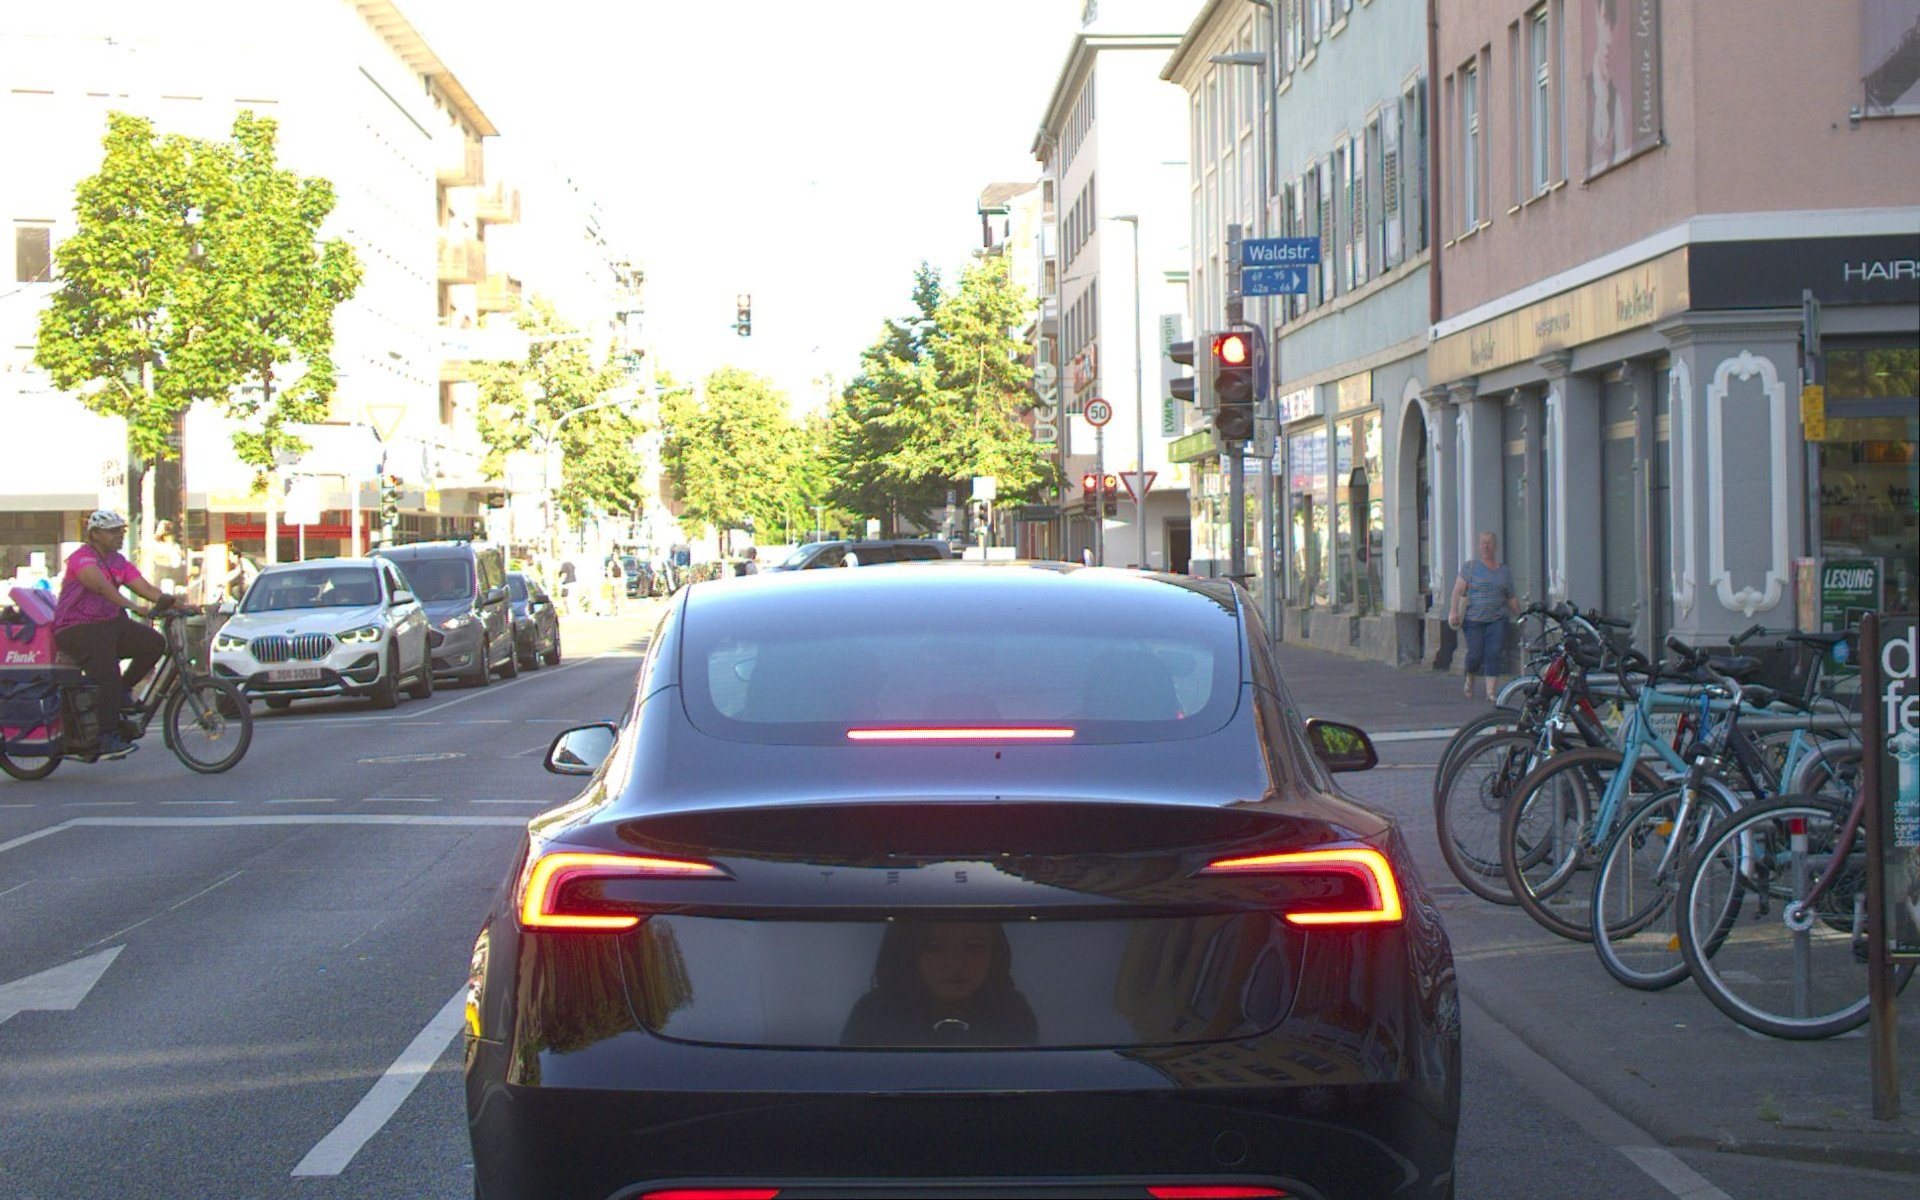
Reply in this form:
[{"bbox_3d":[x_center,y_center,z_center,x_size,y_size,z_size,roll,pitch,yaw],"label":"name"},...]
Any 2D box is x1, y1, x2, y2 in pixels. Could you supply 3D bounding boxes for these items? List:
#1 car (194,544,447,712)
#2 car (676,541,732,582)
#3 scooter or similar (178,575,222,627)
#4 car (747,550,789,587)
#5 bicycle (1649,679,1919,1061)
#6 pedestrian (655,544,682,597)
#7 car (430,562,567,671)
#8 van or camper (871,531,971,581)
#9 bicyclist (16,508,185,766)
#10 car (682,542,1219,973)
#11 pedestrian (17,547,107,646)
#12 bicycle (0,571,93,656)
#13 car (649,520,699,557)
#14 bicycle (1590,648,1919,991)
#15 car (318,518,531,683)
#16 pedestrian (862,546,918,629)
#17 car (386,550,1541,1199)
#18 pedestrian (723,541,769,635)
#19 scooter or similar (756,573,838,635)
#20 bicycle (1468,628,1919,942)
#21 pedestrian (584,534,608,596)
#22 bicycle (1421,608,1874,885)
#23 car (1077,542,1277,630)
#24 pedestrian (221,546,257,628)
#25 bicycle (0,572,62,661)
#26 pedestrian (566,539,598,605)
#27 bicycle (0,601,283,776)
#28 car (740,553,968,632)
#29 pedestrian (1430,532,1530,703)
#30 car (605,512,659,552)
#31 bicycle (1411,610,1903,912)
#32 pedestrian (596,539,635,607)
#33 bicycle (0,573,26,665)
[{"bbox_3d":[-6.684,0.258,36.339,1.825,1.559,4.301,-4,1,-1],"label":"car"},{"bbox_3d":[-12.386,-1.867,166.450,2.414,1.963,4.678,0,1,-1],"label":"car"},{"bbox_3d":[-14.264,0.019,64.536,0.787,0.954,0.464,1,0,-13],"label":"scooter or similar"},{"bbox_3d":[-10.432,-1.739,187.133,2.132,1.963,4.134,0,1,-1],"label":"car"},{"bbox_3d":[3.028,0.761,10.049,1.882,1.040,0.653,-1,1,1],"label":"bicycle"},{"bbox_3d":[-10.339,-1.038,121.894,0.694,1.861,0.910,1,0,-19],"label":"pedestrian"},{"bbox_3d":[-6.650,0.208,49.796,1.461,1.425,3.606,-4,1,-1],"label":"car"},{"bbox_3d":[-1.892,-2.132,167.547,4.850,2.430,1.851,0,1,-1],"label":"van or camper"},{"bbox_3d":[-6.079,0.259,24.339,0.864,1.749,0.681,-4,-1,8],"label":"bicyclist"},{"bbox_3d":[-0.057,0.526,14.197,1.850,1.476,4.452,1,1,-1],"label":"car"},{"bbox_3d":[-14.888,-0.063,56.981,1.093,1.606,1.266,1,1,-33],"label":"pedestrian"},{"bbox_3d":[-14.530,0.194,52.139,2.542,1.247,0.943,1,0,-3],"label":"bicycle"},{"bbox_3d":[-15.639,-3.353,188.280,2.275,2.007,4.717,1,1,1],"label":"car"},{"bbox_3d":[3.002,0.694,11.120,1.813,1.056,0.653,0,1,1],"label":"bicycle"},{"bbox_3d":[-6.569,-0.032,42.662,1.945,1.940,4.820,0,1,-1],"label":"car"},{"bbox_3d":[-1.364,-0.248,67.244,0.806,1.604,0.709,0,1,-37],"label":"pedestrian"},{"bbox_3d":[-0.022,0.631,7.772,1.850,1.442,4.452,1,1,-1],"label":"car"},{"bbox_3d":[-4.016,-0.233,64.589,0.658,1.754,0.654,1,0,-24],"label":"pedestrian"},{"bbox_3d":[-3.082,0.074,64.983,1.333,1.131,0.810,1,0,-24],"label":"scooter or similar"},{"bbox_3d":[2.802,0.659,12.527,1.813,1.098,0.653,0,1,1],"label":"bicycle"},{"bbox_3d":[-10.990,-1.071,103.877,0.695,1.861,0.659,1,0,-5],"label":"pedestrian"},{"bbox_3d":[2.925,0.614,14.735,1.813,1.148,0.653,0,1,1],"label":"bicycle"},{"bbox_3d":[4.713,-0.322,74.673,3.992,1.861,1.698,0,1,-21],"label":"car"},{"bbox_3d":[-13.569,-0.250,64.690,0.624,1.518,0.579,1,0,-13],"label":"pedestrian"},{"bbox_3d":[-14.485,0.222,49.864,2.662,1.255,0.943,1,0,-3],"label":"bicycle"},{"bbox_3d":[-10.707,-0.796,97.308,0.732,1.861,0.791,1,0,-17],"label":"pedestrian"},{"bbox_3d":[-6.084,0.631,24.330,2.390,1.147,0.712,-2,0,6],"label":"bicycle"},{"bbox_3d":[-2.576,-0.196,83.458,5.195,1.860,1.884,0,1,-22],"label":"car"},{"bbox_3d":[4.784,0.155,31.674,0.789,1.544,0.724,1,0,0],"label":"pedestrian"},{"bbox_3d":[-17.116,-3.533,179.641,2.275,2.007,4.717,1,1,1],"label":"car"},{"bbox_3d":[2.733,0.622,13.600,1.813,1.148,0.653,0,1,1],"label":"bicycle"},{"bbox_3d":[-9.504,-0.755,94.872,0.734,1.861,0.789,1,0,28],"label":"pedestrian"},{"bbox_3d":[-14.483,0.239,47.545,2.875,1.266,0.943,1,0,-3],"label":"bicycle"}]
